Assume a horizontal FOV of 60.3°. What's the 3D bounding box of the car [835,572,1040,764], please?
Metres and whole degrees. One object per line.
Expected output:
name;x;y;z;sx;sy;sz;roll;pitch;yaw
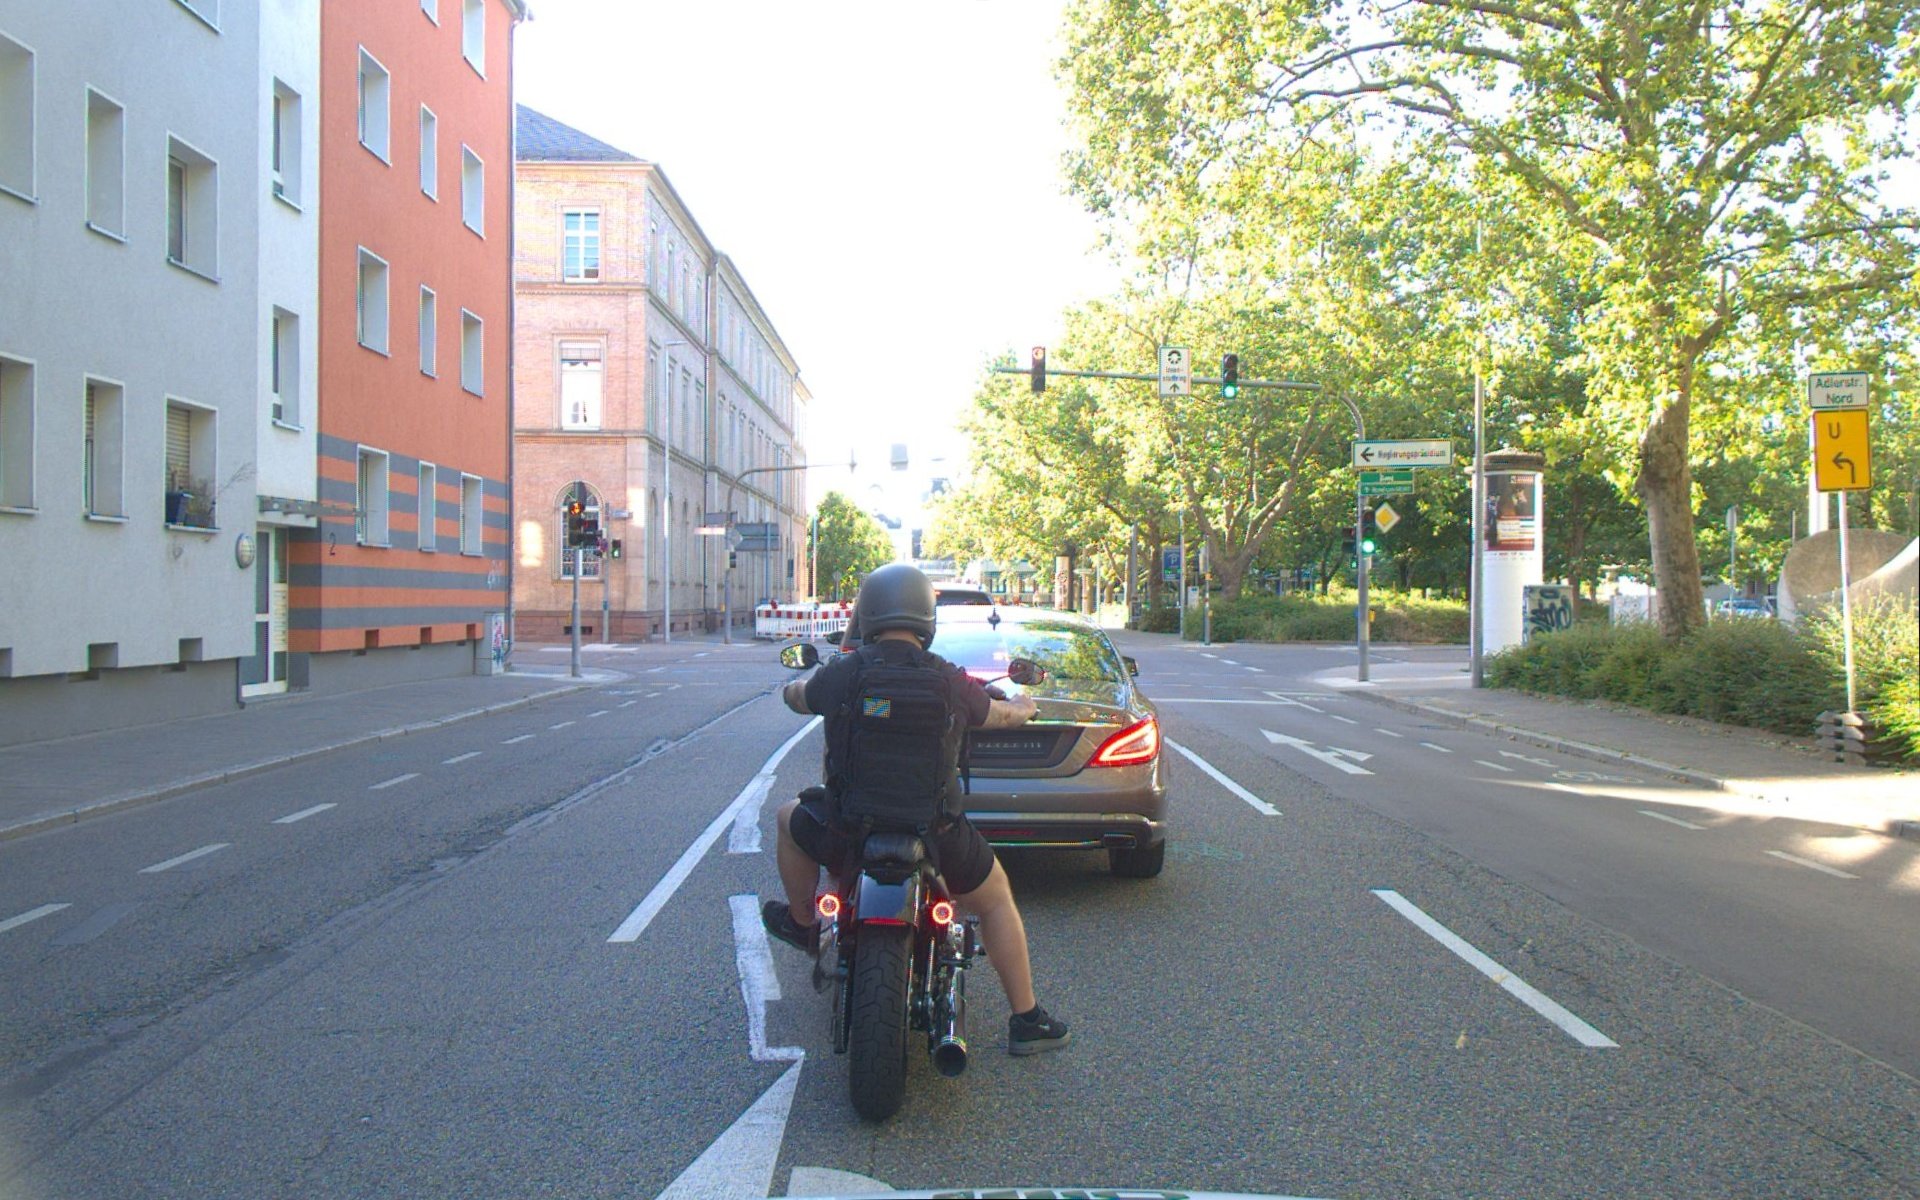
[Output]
car;-0.234;0.622;16.933;1.825;1.707;3.999;1;0;-1

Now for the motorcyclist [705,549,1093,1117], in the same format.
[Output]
motorcyclist;-0.136;0.661;5.269;1.076;1.593;1.072;1;0;5

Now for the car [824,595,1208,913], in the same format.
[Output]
car;0.239;0.730;9.661;1.785;1.462;3.805;1;0;-1

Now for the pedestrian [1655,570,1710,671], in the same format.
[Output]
pedestrian;13.111;0.368;30.033;0.720;1.809;0.730;1;-1;7

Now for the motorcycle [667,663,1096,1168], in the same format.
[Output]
motorcycle;-0.123;0.871;5.489;1.094;1.228;2.213;1;0;5
